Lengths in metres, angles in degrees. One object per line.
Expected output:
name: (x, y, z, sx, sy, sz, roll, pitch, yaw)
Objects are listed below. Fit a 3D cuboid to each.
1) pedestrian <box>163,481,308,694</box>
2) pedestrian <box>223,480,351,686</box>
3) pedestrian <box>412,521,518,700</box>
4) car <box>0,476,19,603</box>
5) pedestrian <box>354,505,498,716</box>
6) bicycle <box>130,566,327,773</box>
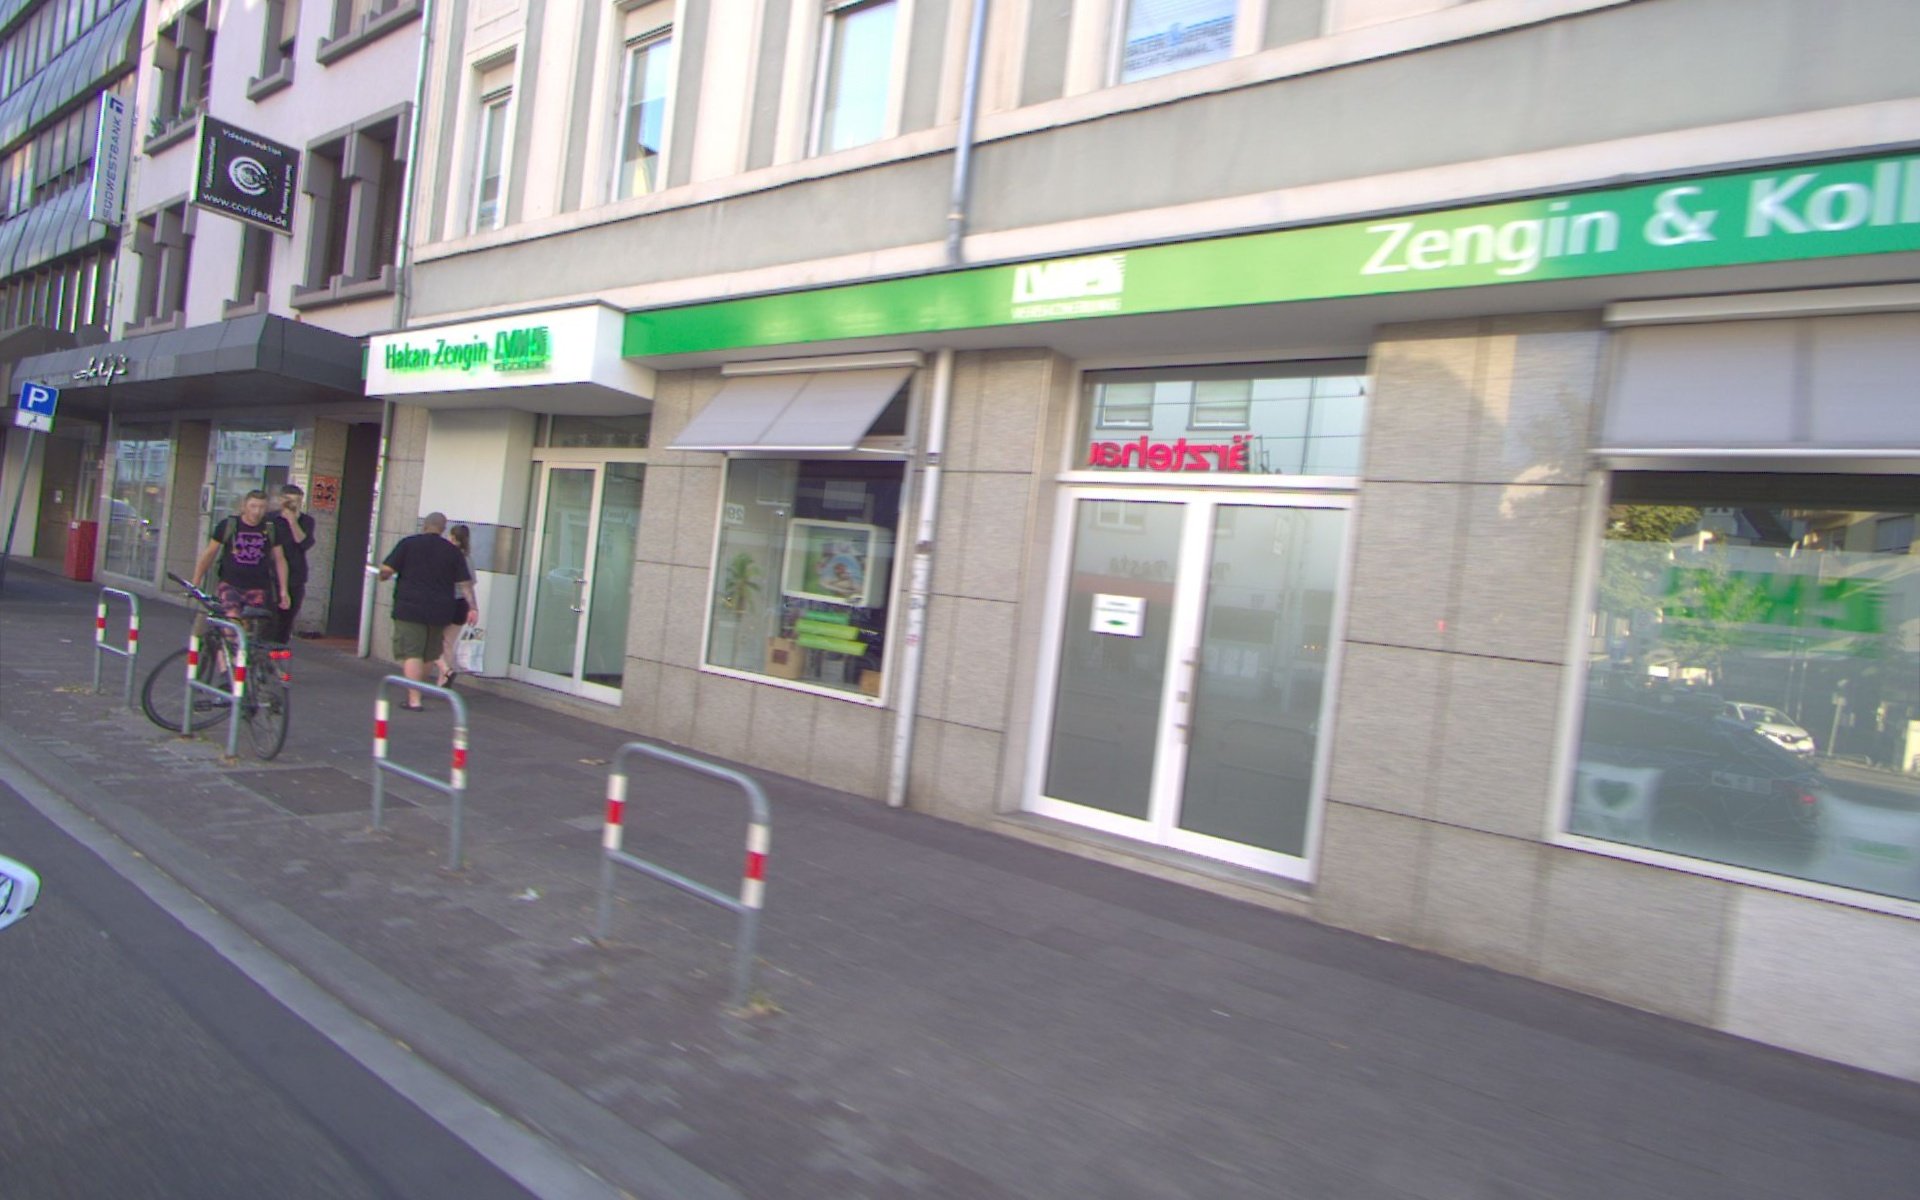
pedestrian: (-6.713, -0.113, 9.327, 0.837, 1.852, 0.737, 7, 2, 34)
pedestrian: (-6.771, -0.172, 10.119, 0.865, 1.952, 0.661, 7, 2, 34)
pedestrian: (-5.106, 0.104, 10.378, 0.668, 1.741, 0.648, 7, 3, 37)
car: (-15.603, -1.080, 14.613, 4.506, 1.750, 1.992, 6, 1, 36)
pedestrian: (-4.990, 0.089, 9.400, 0.914, 1.829, 0.765, 7, 2, 37)
bicycle: (-4.945, 0.431, 6.771, 1.467, 1.161, 0.533, 7, 1, 34)
